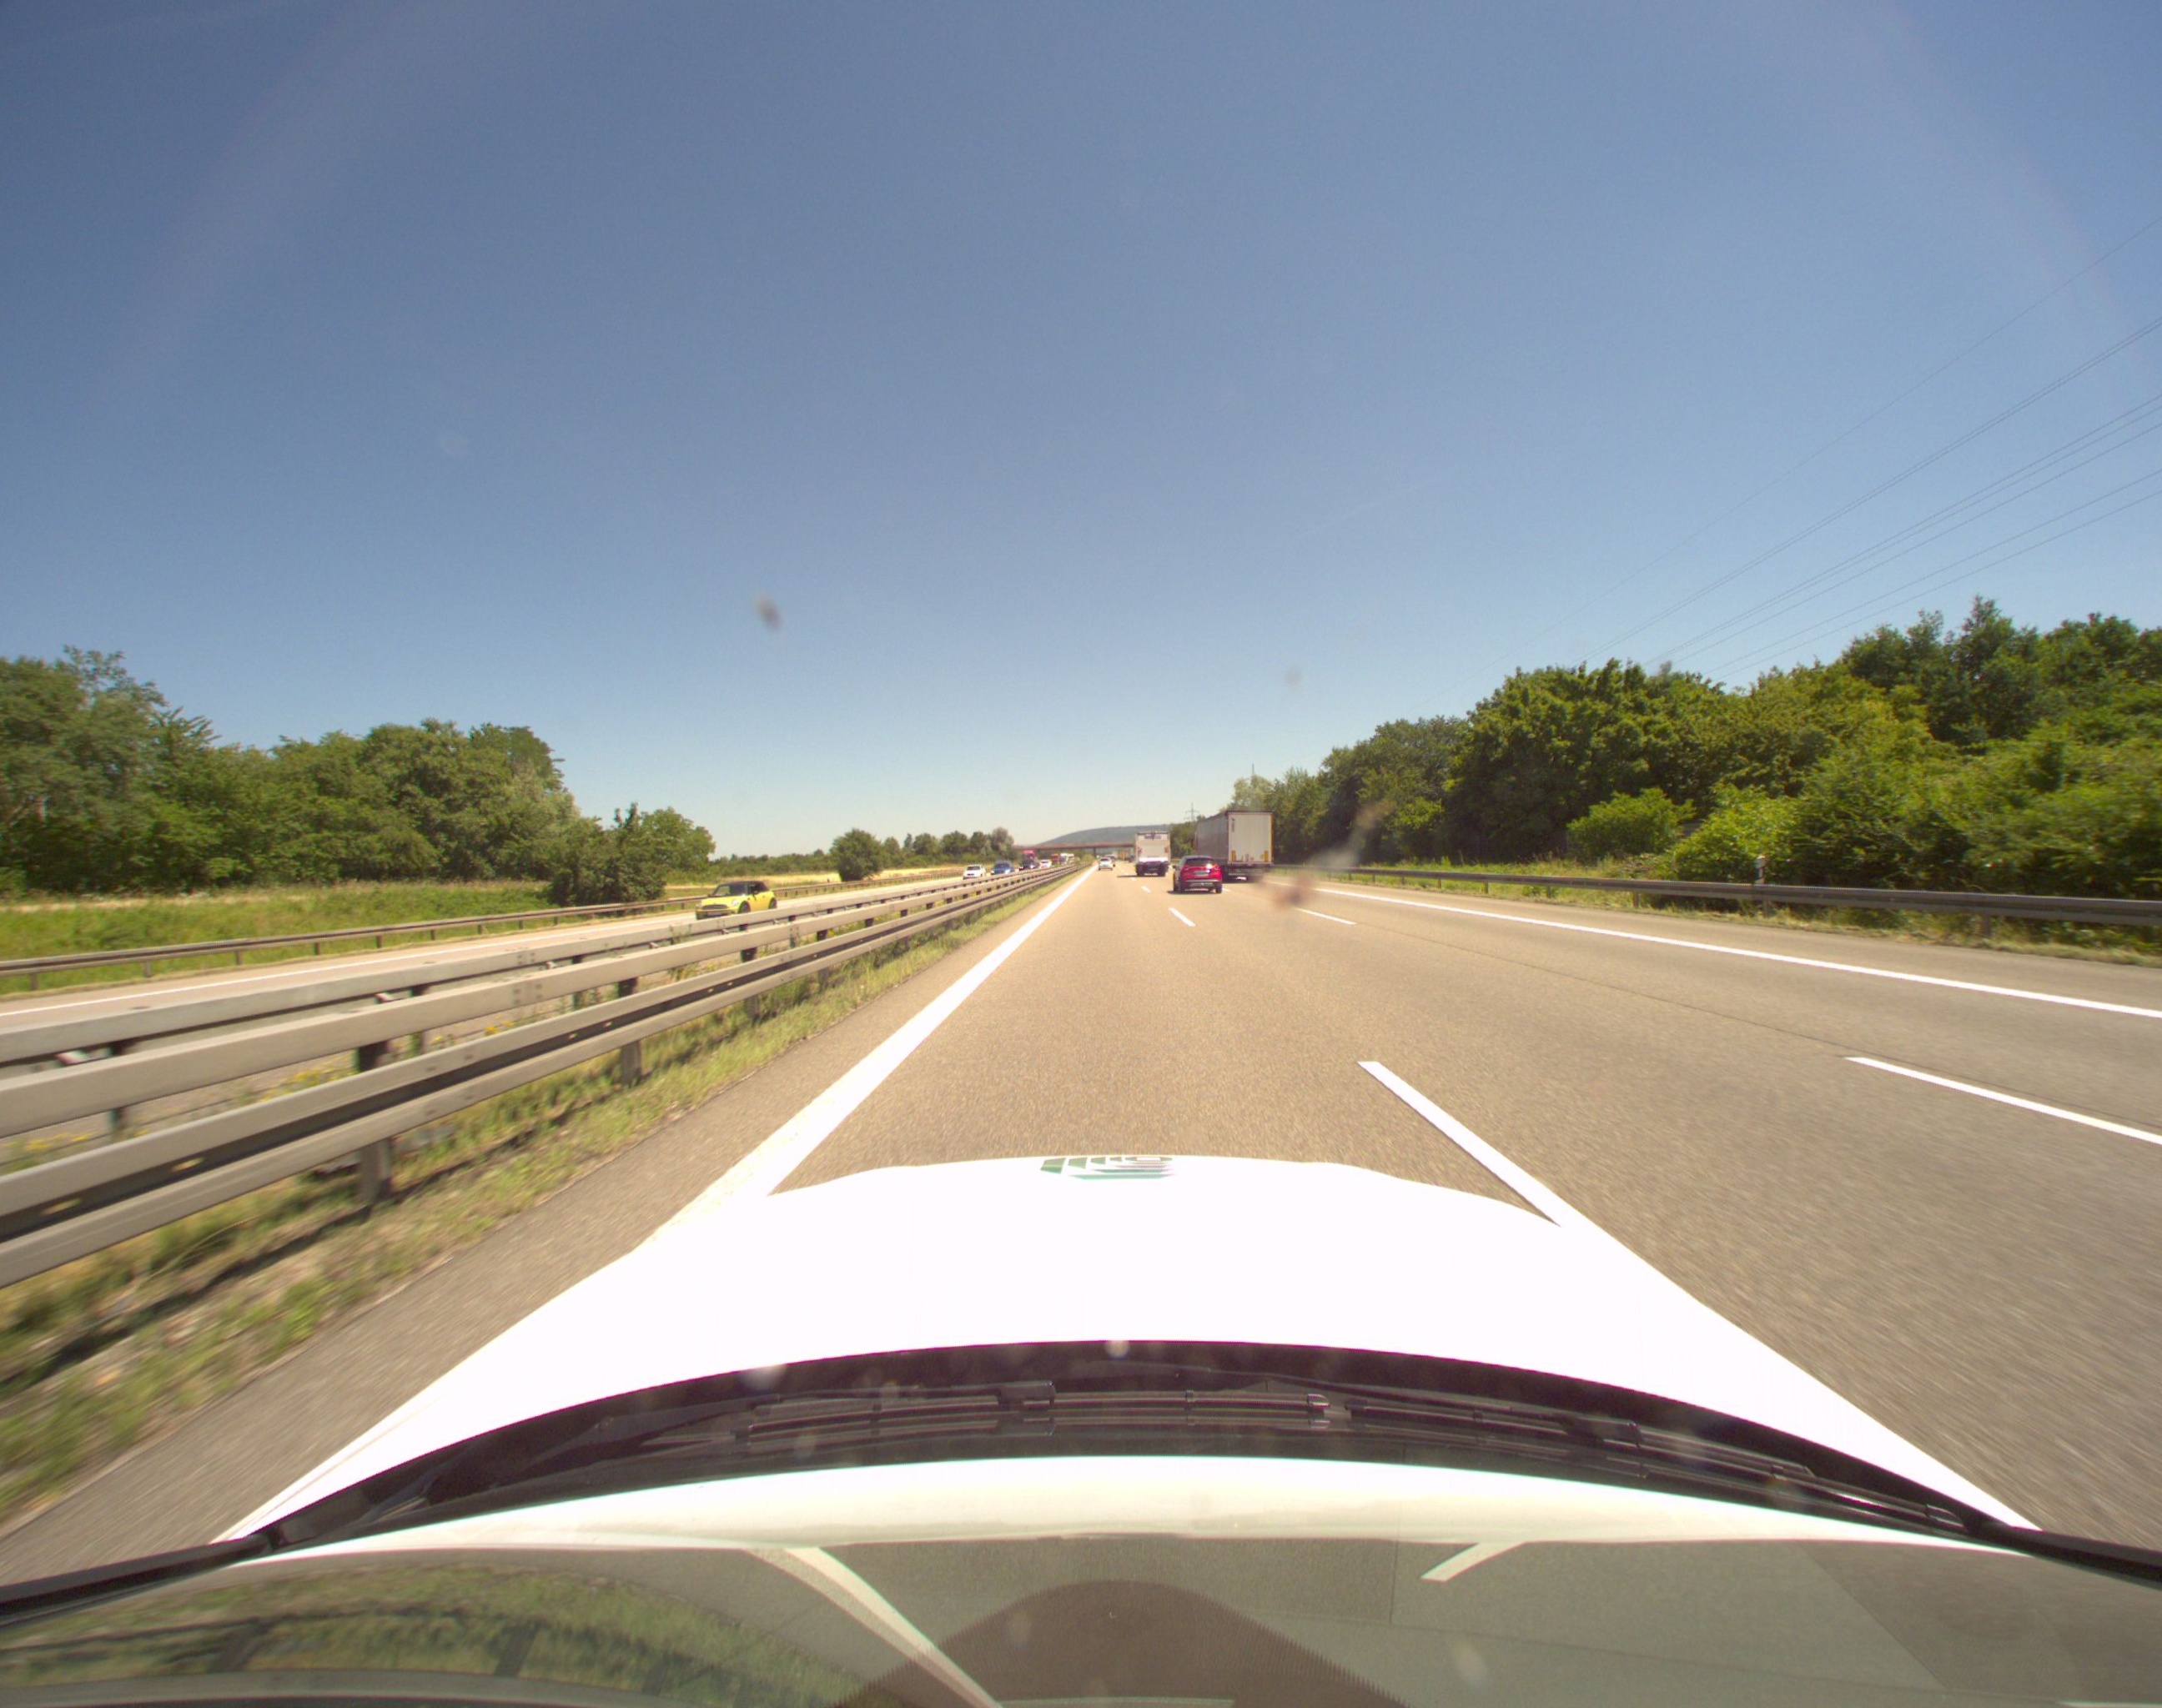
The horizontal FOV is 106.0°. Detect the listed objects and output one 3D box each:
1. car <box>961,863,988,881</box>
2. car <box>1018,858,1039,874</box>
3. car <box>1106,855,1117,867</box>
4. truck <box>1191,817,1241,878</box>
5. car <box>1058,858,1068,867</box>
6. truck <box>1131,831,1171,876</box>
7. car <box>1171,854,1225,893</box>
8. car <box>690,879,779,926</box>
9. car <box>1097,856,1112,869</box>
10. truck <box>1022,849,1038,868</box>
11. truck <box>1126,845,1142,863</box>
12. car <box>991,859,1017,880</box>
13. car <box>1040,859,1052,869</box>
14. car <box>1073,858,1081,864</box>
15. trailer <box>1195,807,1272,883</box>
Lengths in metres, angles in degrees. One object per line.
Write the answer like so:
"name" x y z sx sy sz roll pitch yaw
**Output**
"car" -10.186 1.681 78.242 1.872 1.566 4.194 -3 0 2
"car" -6.243 1.436 96.654 1.952 1.772 4.445 -3 0 2
"car" 4.830 1.067 129.384 1.754 1.850 4.002 -2 0 2
"truck" 9.695 -0.440 58.926 2.784 4.164 5.725 -2 0 2
"car" -3.852 1.789 173.701 1.802 1.647 3.962 -3 0 1
"truck" 5.611 -0.030 66.212 2.772 3.373 8.130 -1 0 2
"car" 4.896 0.791 34.561 1.796 1.545 4.002 -1 0 2
"car" -12.537 1.701 29.670 1.576 1.428 3.478 -3 0 2
"car" 2.816 0.975 96.972 1.601 1.467 4.002 -2 0 2
"truck" -11.368 1.038 181.792 2.751 4.014 5.752 -4 0 1
"truck" 13.928 -0.058 215.021 3.507 4.416 14.597 -3 0 2
"car" -6.797 1.364 72.216 1.761 1.750 3.987 -3 0 2
"car" -5.859 1.700 136.598 1.802 1.536 3.962 -3 0 1
"car" -1.054 1.919 218.703 1.797 1.568 4.097 -3 0 2
"trailer" 9.423 -0.460 52.001 2.778 4.164 13.581 -2 0 2
